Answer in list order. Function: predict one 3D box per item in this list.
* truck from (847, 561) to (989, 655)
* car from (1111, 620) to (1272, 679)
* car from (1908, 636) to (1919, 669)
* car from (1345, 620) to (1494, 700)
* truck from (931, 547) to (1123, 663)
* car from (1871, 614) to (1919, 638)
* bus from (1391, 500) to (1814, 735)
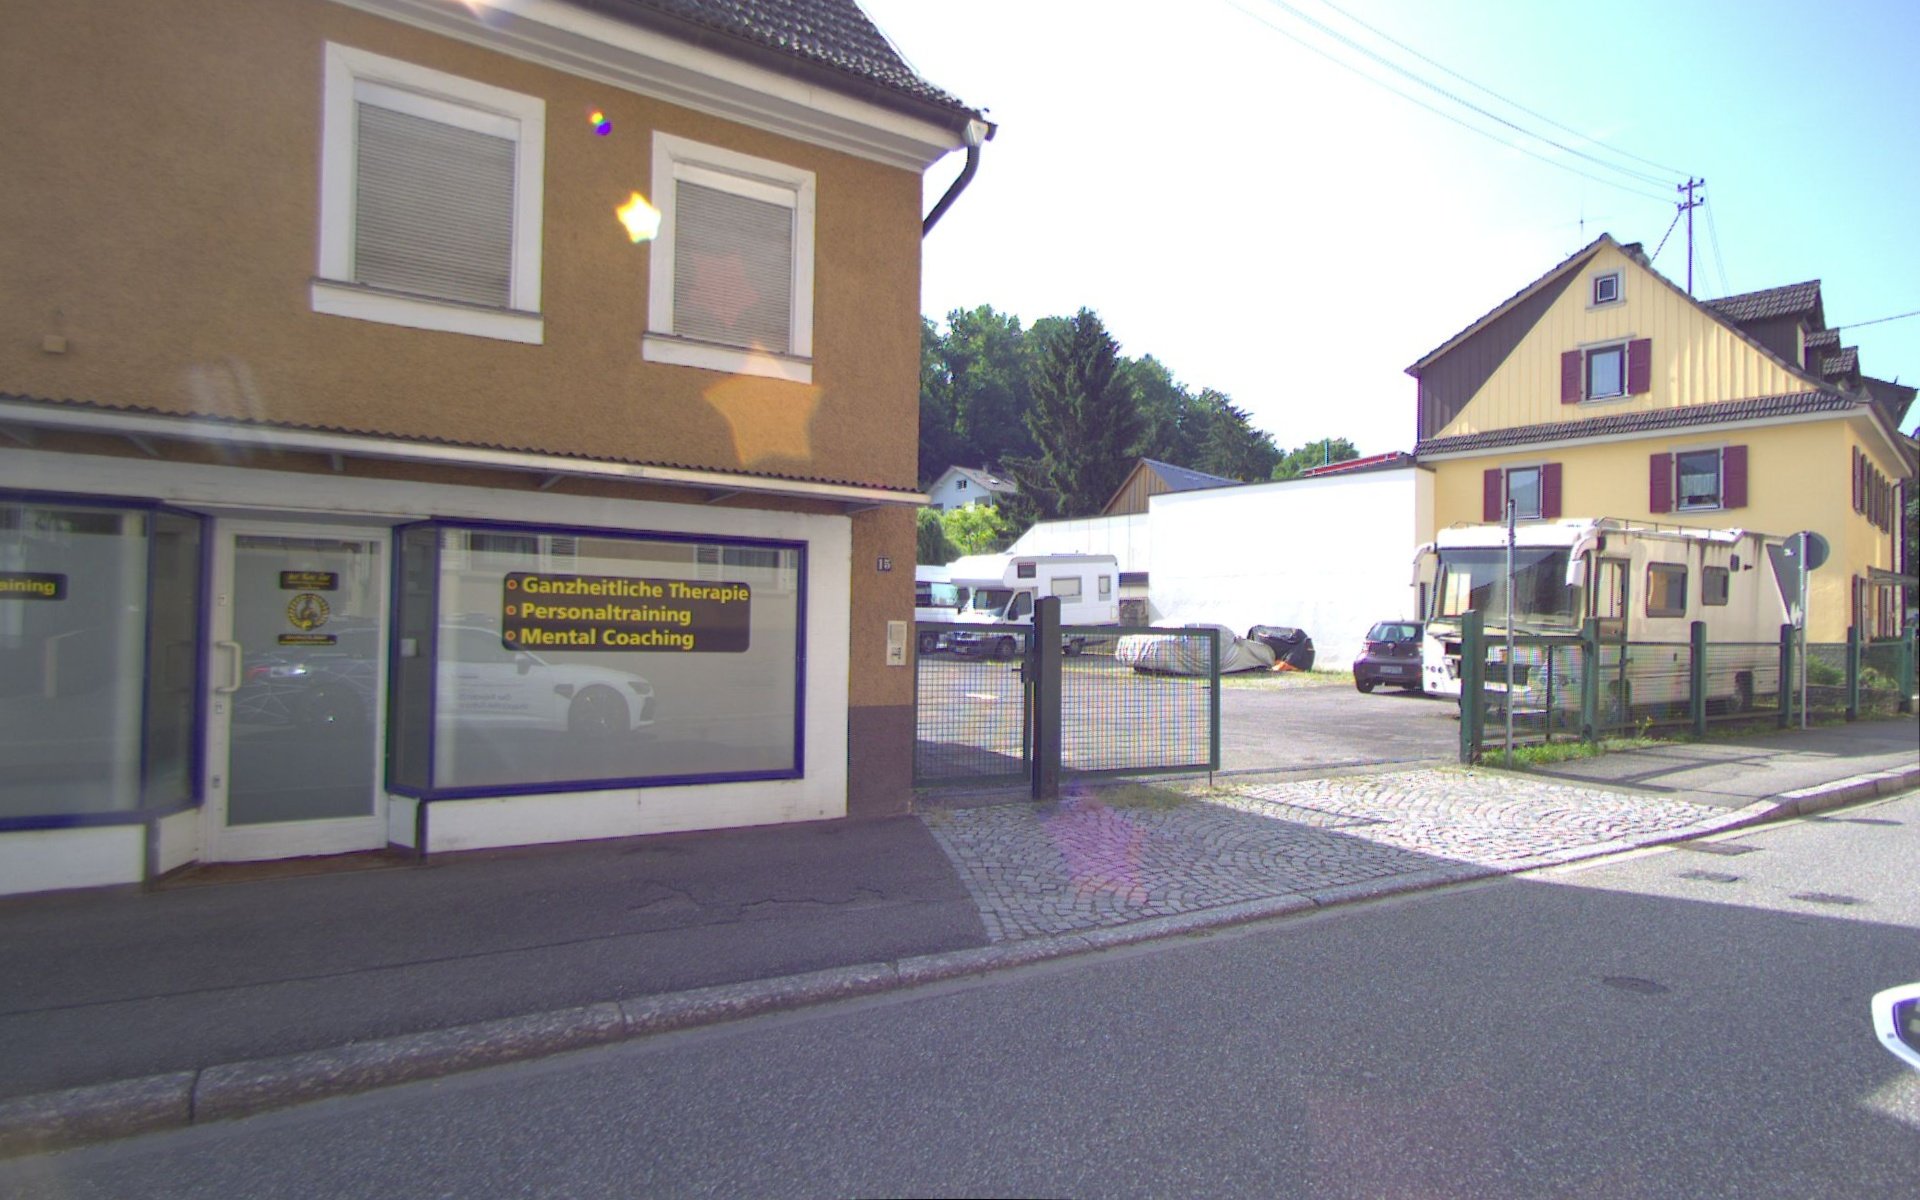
[{"bbox_3d":[-1.246,0.270,30.815,4.050,2.687,1.935,2,0,-42],"label":"truck"},{"bbox_3d":[5.766,1.167,24.891,3.957,1.286,1.584,0,1,-34],"label":"car"},{"bbox_3d":[44.103,2.286,44.305,1.631,1.468,4.260,-3,-4,19],"label":"car"},{"bbox_3d":[9.680,1.199,21.026,1.745,1.451,3.979,1,-1,41],"label":"car"},{"bbox_3d":[2.068,0.130,29.741,5.697,3.100,2.384,0,1,-42],"label":"truck"},{"bbox_3d":[64.867,1.776,69.192,1.680,1.563,4.000,-1,0,20],"label":"car"},{"bbox_3d":[11.536,0.329,17.613,8.939,3.271,2.803,2,0,-33],"label":"bus"}]
